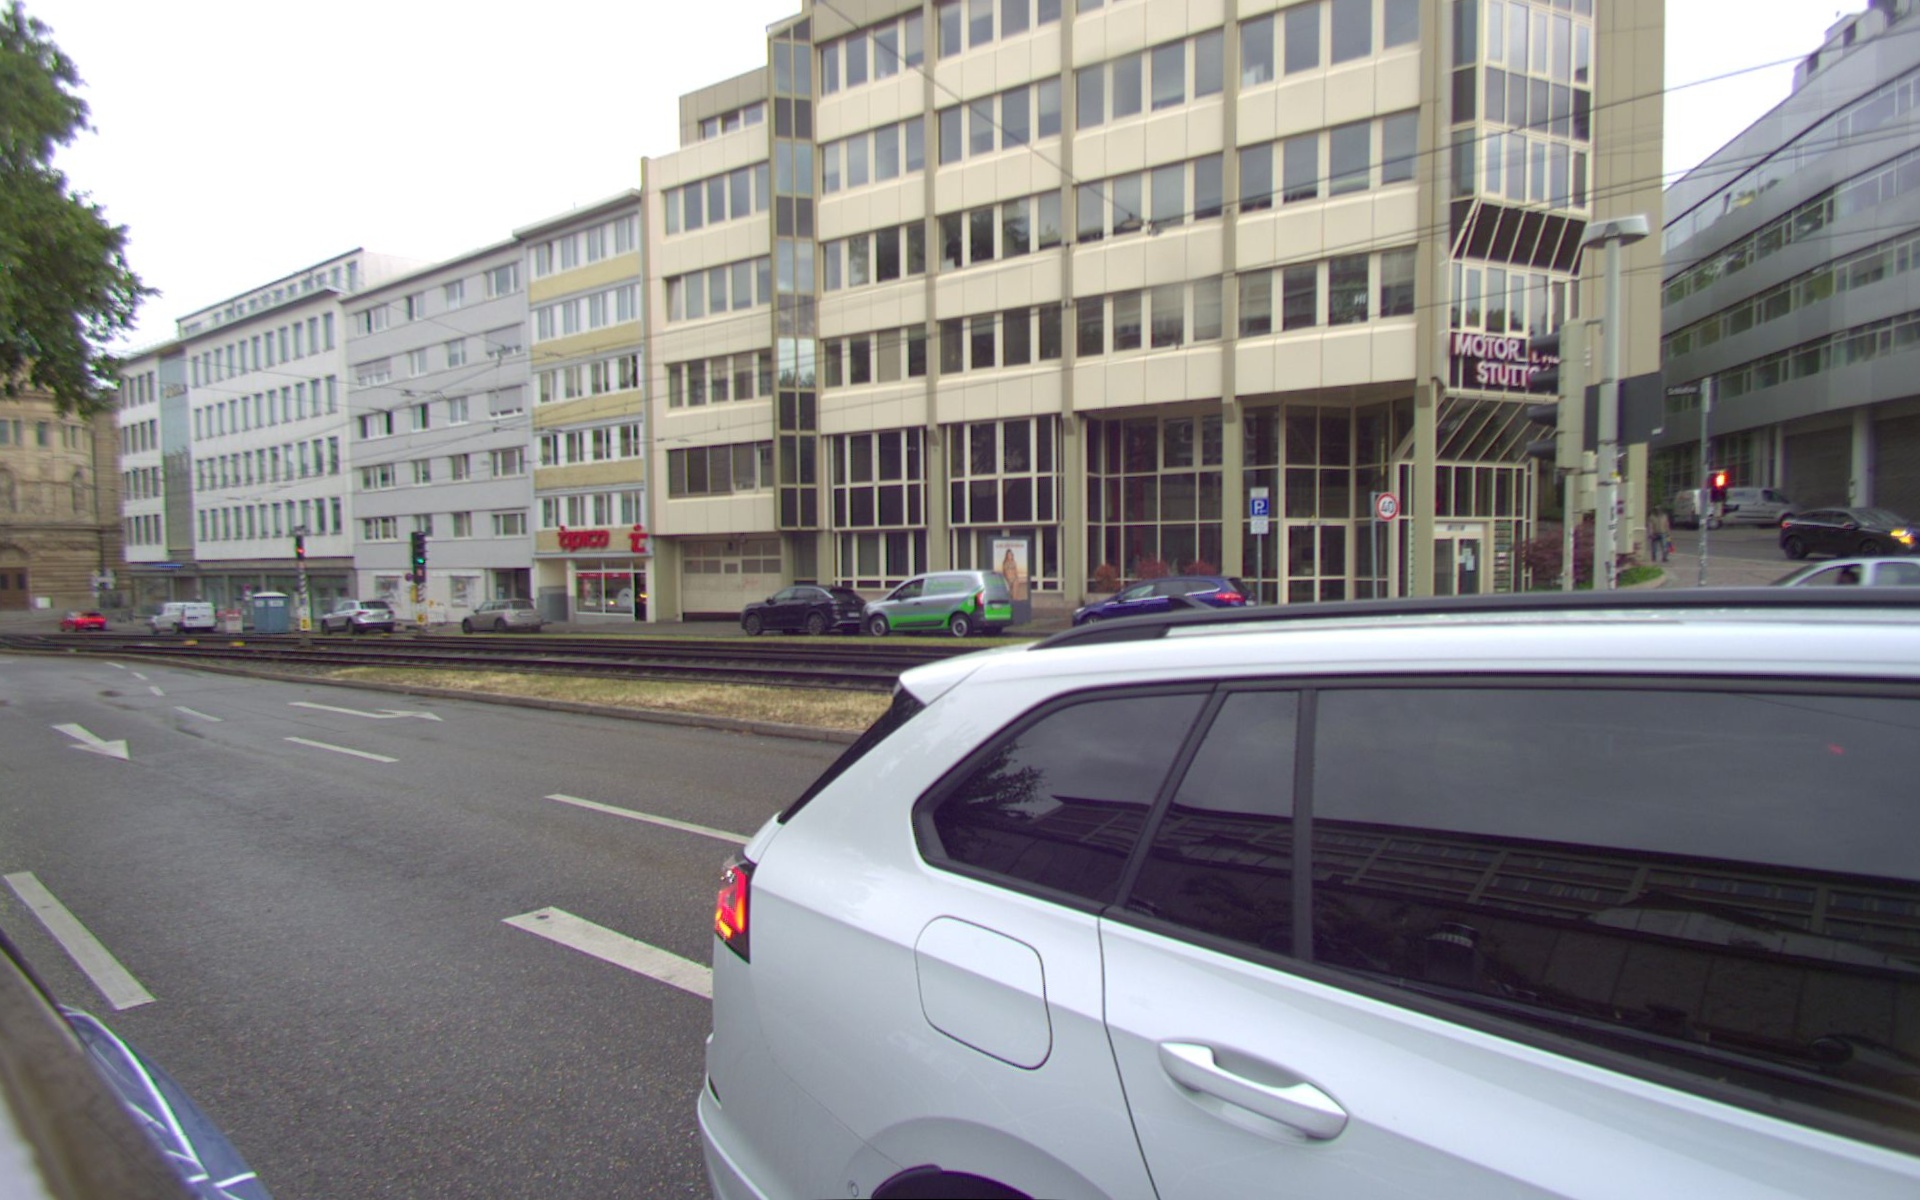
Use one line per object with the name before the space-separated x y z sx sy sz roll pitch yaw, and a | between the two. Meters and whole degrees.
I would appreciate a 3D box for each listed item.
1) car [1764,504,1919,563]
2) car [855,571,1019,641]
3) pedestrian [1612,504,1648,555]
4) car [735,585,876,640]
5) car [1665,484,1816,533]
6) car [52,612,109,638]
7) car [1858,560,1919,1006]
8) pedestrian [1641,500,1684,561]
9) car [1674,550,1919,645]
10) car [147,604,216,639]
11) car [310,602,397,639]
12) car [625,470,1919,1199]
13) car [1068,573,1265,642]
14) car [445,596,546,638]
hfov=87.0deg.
car | 27.485 -2.096 31.016 1.974 1.591 4.884 -2 5 3
car | -0.673 0.158 27.870 4.204 1.759 1.782 -1 3 33
pedestrian | 22.327 -2.342 33.715 0.711 1.651 0.759 -2 3 6
car | -4.714 0.366 30.760 4.066 1.524 1.782 -1 3 34
car | 37.629 -4.366 48.939 5.357 2.029 1.993 -1 0 12
car | -62.203 1.759 71.567 4.465 1.636 1.869 -1 3 34
car | 5.301 0.568 2.564 4.473 1.453 1.777 -1 0 41
pedestrian | 21.592 -2.123 31.107 0.821 1.800 0.759 -2 3 6
car | 13.710 -0.037 15.891 3.853 1.367 1.617 -1 2 28
car | -46.546 1.271 60.461 4.465 1.949 1.869 -1 3 34
car | -28.308 0.933 47.216 4.066 1.524 1.869 -1 3 34
car | 1.611 0.617 1.166 4.473 1.453 1.777 -1 0 41
car | 4.819 0.181 23.855 4.207 1.488 1.780 -1 0 35
car | -18.711 0.651 40.714 4.066 1.524 1.782 -1 3 34
